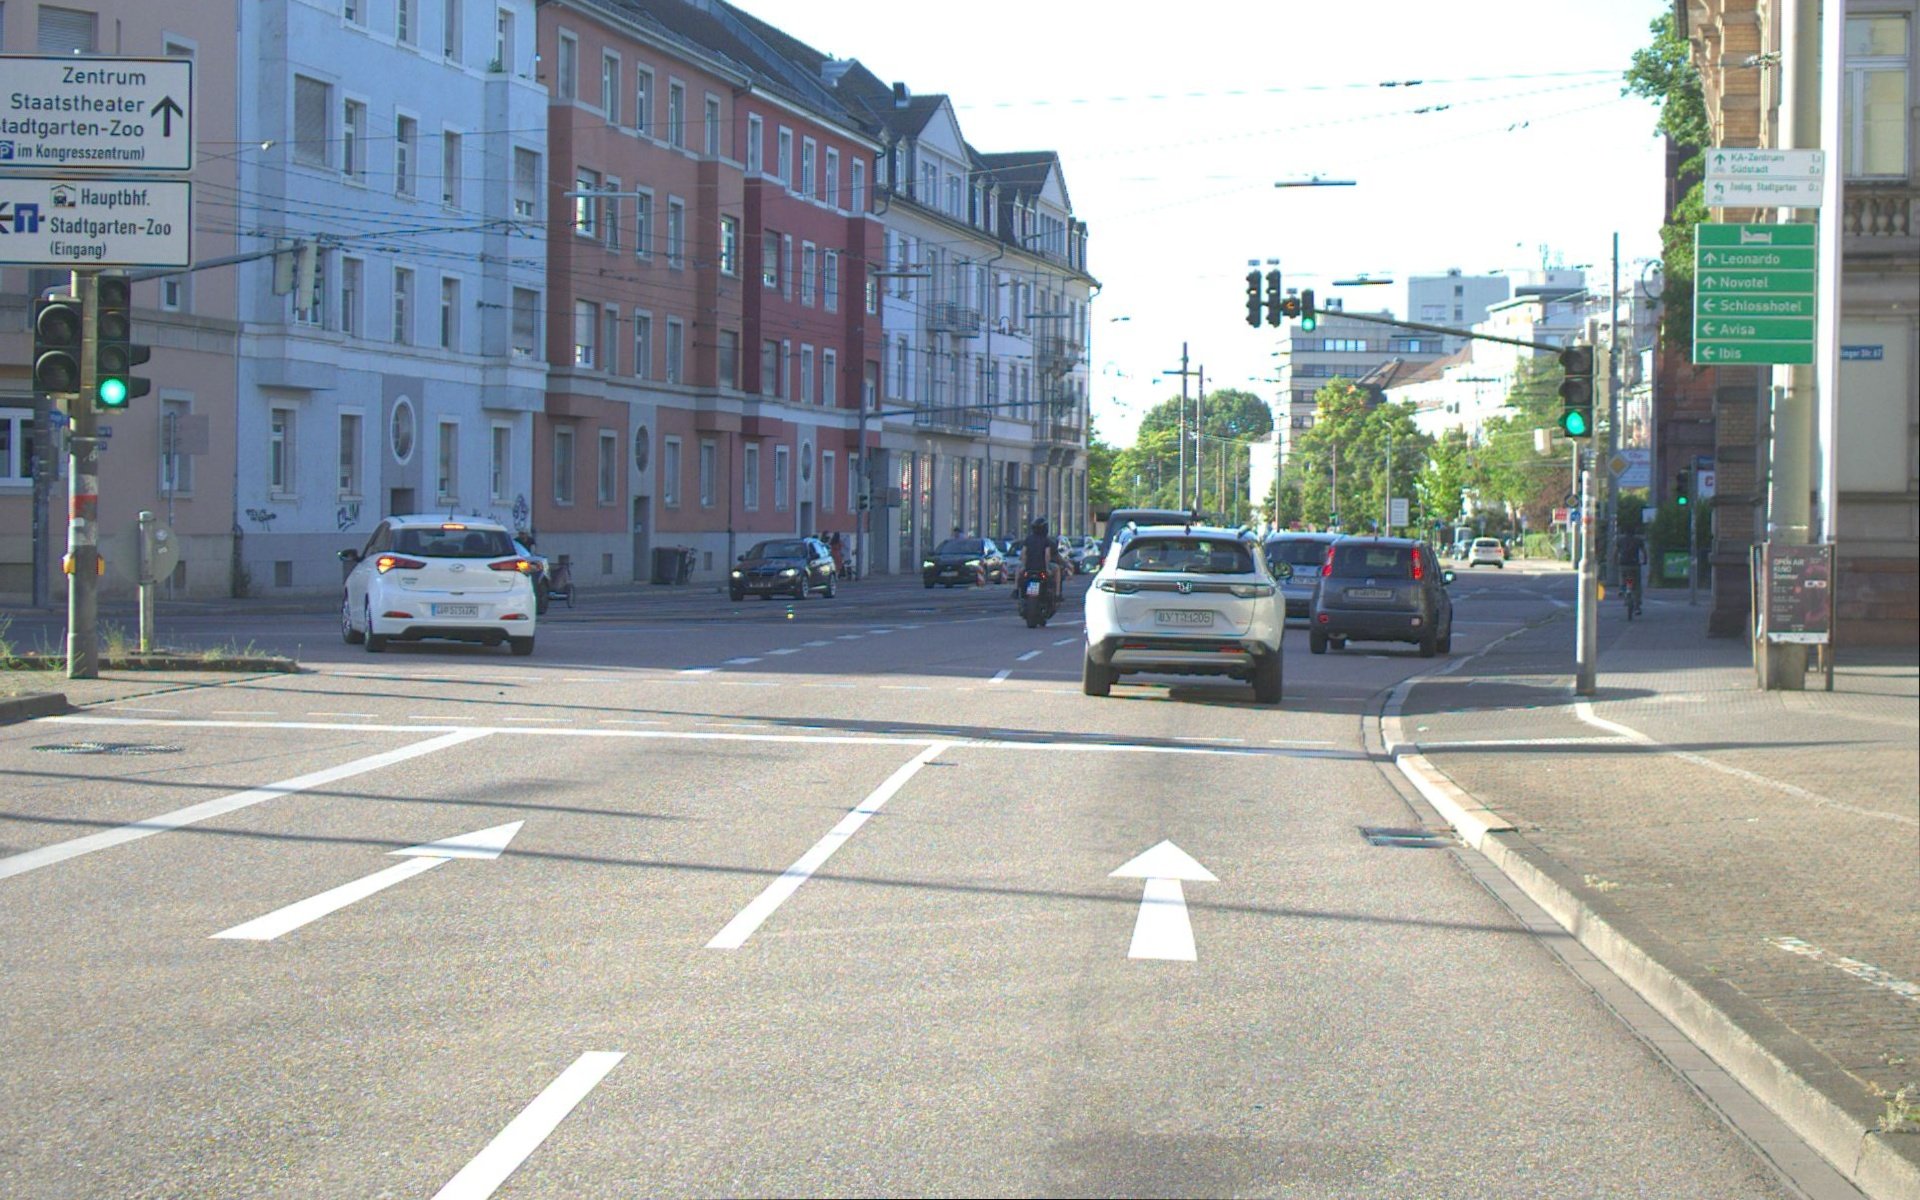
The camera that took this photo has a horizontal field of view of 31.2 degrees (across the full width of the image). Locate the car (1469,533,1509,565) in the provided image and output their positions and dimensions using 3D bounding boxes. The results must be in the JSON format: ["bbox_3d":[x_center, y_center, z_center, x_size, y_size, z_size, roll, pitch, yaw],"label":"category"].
[{"bbox_3d":[28.686,-2.767,186.278,1.994,1.656,4.495,1,1,10],"label":"car"}]

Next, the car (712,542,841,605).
[{"bbox_3d":[-4.229,-0.640,79.960,1.994,1.387,4.560,1,1,10],"label":"car"}]

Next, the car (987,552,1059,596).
[{"bbox_3d":[2.044,-0.850,110.482,1.727,1.370,3.533,1,1,11],"label":"car"}]

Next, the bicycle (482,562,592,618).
[{"bbox_3d":[-8.518,-0.213,69.375,0.934,1.052,3.351,1,1,16],"label":"bicycle"}]

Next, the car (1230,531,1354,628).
[{"bbox_3d":[5.725,-0.374,58.967,1.815,1.576,3.998,1,1,10],"label":"car"}]

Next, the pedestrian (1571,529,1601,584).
[{"bbox_3d":[21.056,-1.468,115.637,0.876,1.818,1.184,1,1,13],"label":"pedestrian"}]

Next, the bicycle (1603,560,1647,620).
[{"bbox_3d":[12.352,-0.194,63.874,0.771,1.082,1.870,1,1,10],"label":"bicycle"}]

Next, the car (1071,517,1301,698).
[{"bbox_3d":[2.088,0.018,31.809,1.948,1.523,4.089,1,1,4],"label":"car"}]

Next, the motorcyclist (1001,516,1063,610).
[{"bbox_3d":[1.112,-0.570,52.767,0.777,1.418,0.891,1,1,12],"label":"motorcyclist"}]

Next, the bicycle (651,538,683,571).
[{"bbox_3d":[-8.120,-1.262,95.358,0.335,0.887,1.603,1,1,16],"label":"bicycle"}]

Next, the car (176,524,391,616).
[{"bbox_3d":[-11.150,-0.508,56.970,1.825,1.421,4.324,1,1,14],"label":"car"}]

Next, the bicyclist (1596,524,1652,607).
[{"bbox_3d":[12.347,-0.641,63.946,0.834,1.520,0.994,1,1,2],"label":"bicyclist"}]

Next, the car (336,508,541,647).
[{"bbox_3d":[-5.656,-0.268,36.938,1.786,1.389,4.107,1,1,-14],"label":"car"}]

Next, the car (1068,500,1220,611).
[{"bbox_3d":[3.550,-0.855,65.419,2.173,2.002,4.806,1,1,12],"label":"car"}]

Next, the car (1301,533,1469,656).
[{"bbox_3d":[5.644,-0.108,45.318,1.732,1.495,3.998,2,1,13],"label":"car"}]

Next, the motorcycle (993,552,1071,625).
[{"bbox_3d":[1.112,-0.188,52.826,0.777,1.078,2.280,1,1,12],"label":"motorcycle"}]

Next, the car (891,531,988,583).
[{"bbox_3d":[-0.571,-1.251,100.096,1.923,1.450,4.496,1,1,11],"label":"car"}]
